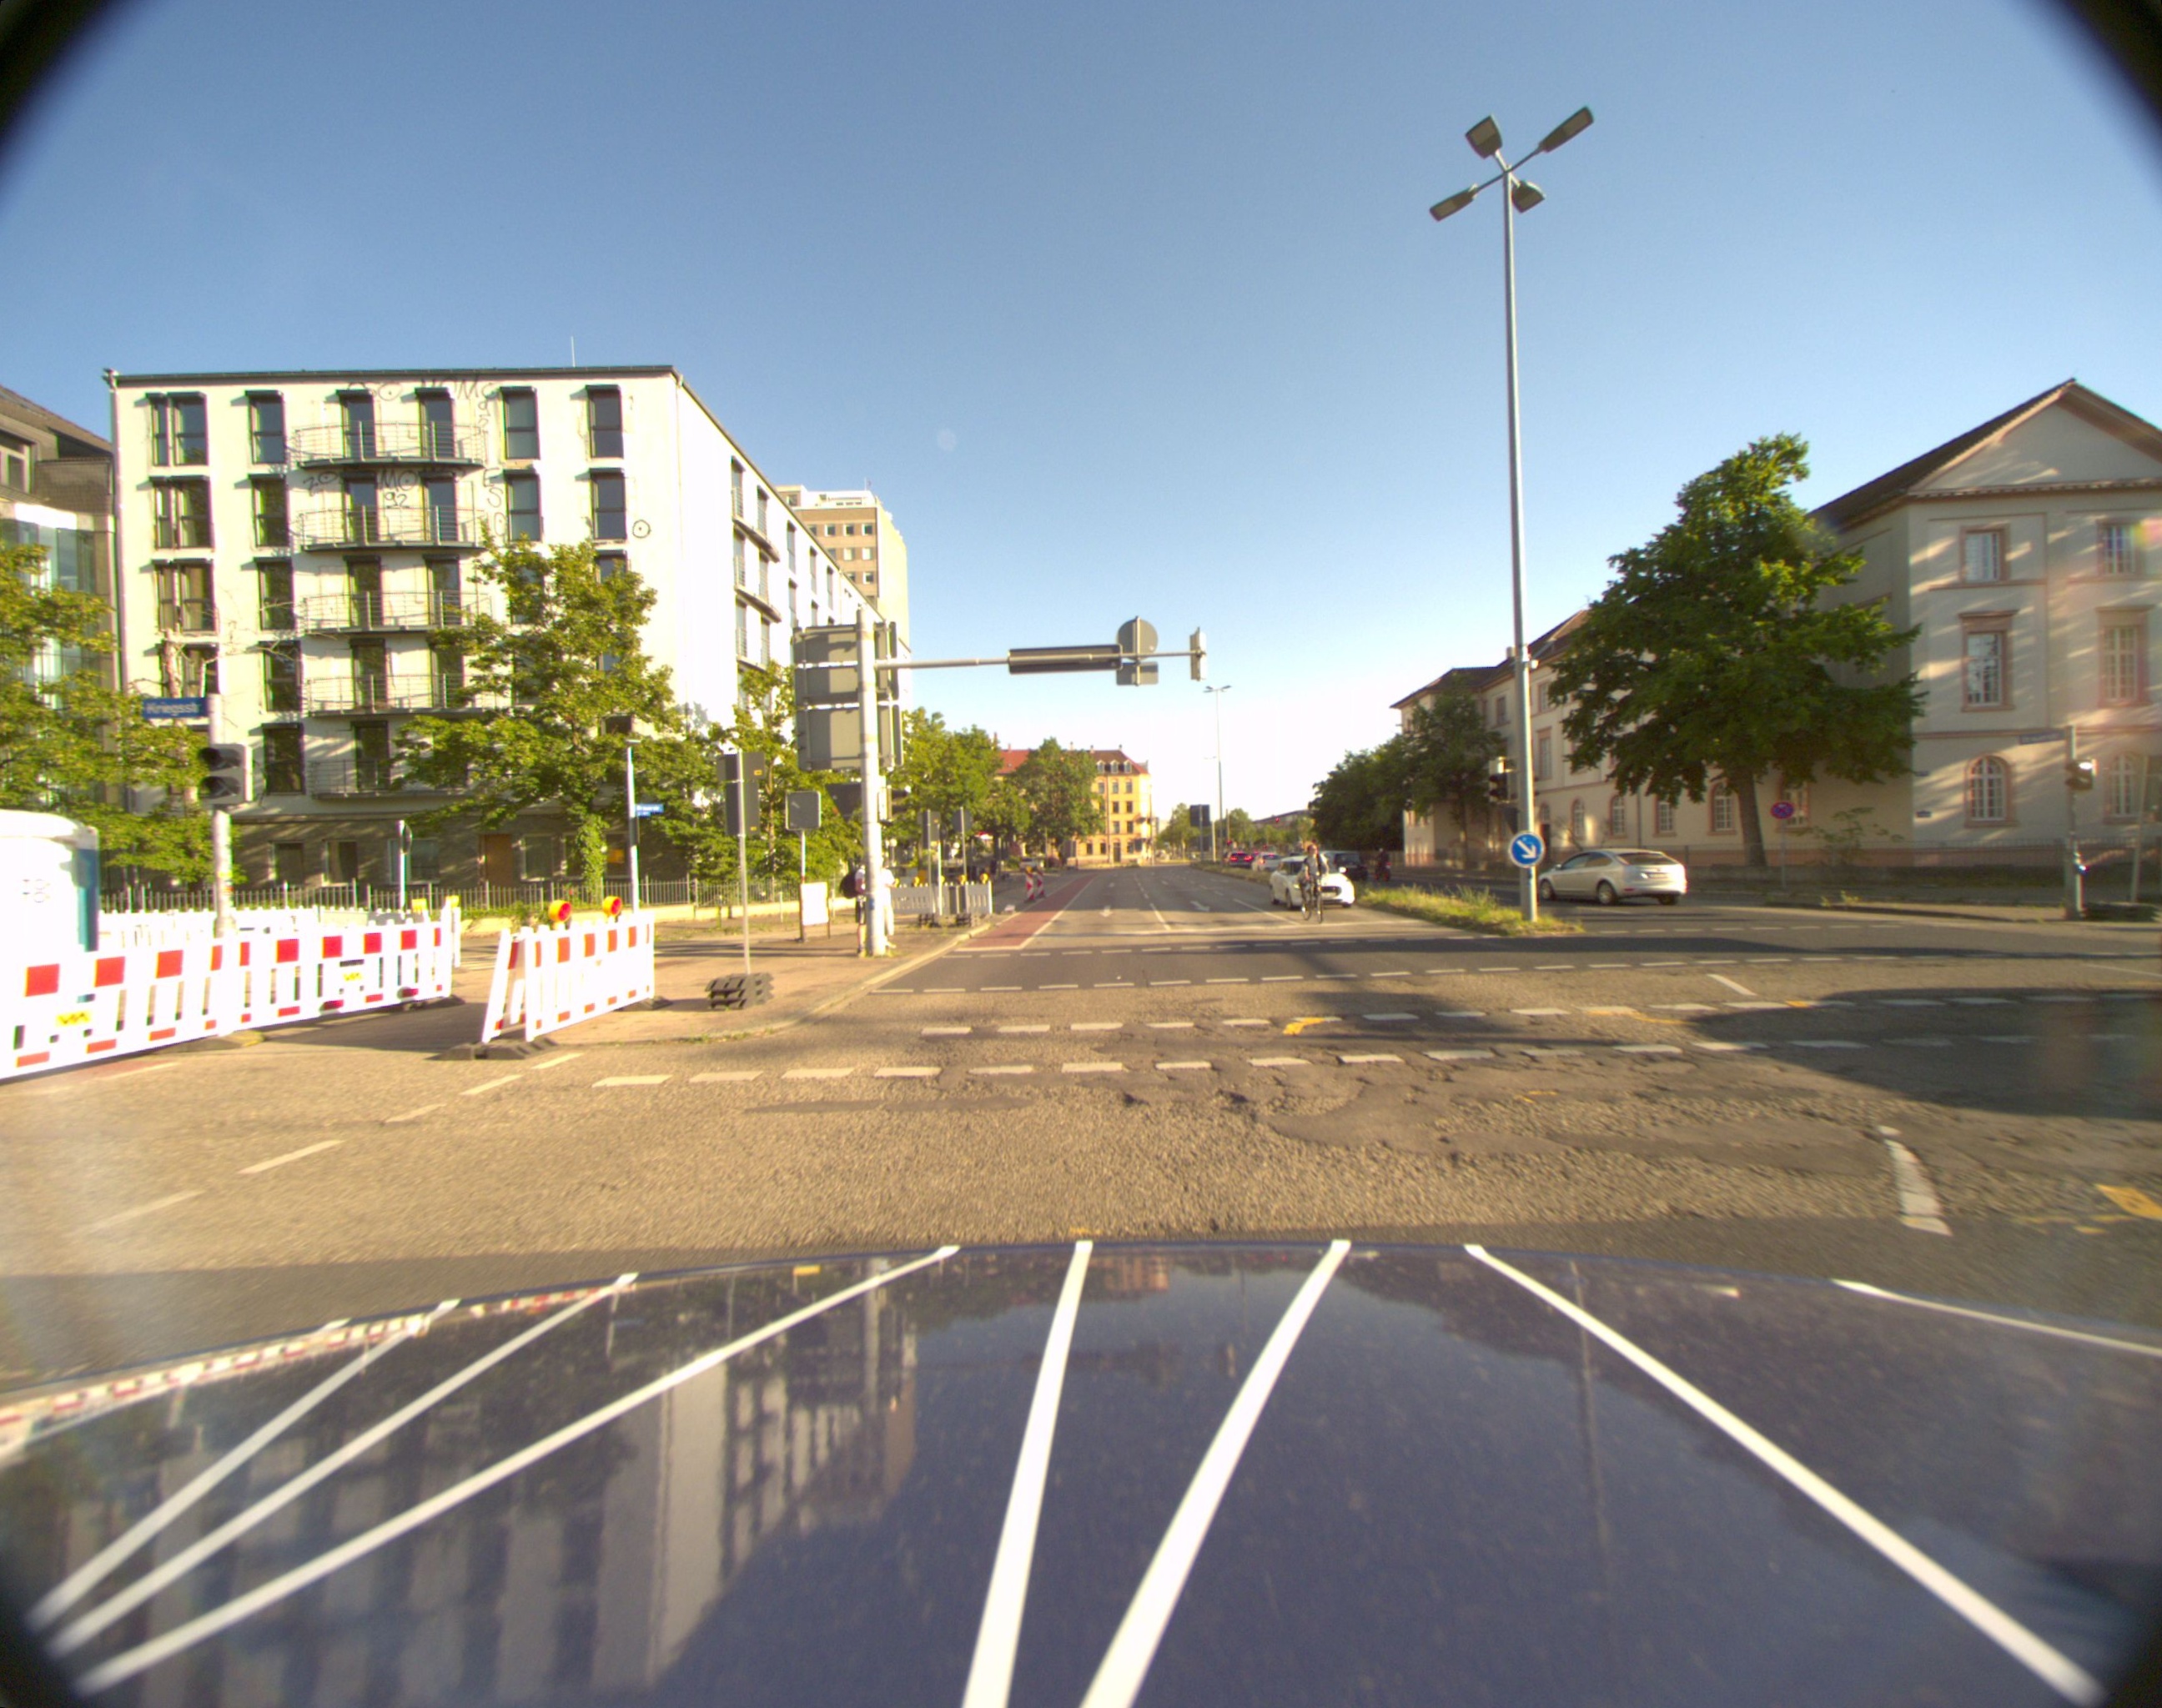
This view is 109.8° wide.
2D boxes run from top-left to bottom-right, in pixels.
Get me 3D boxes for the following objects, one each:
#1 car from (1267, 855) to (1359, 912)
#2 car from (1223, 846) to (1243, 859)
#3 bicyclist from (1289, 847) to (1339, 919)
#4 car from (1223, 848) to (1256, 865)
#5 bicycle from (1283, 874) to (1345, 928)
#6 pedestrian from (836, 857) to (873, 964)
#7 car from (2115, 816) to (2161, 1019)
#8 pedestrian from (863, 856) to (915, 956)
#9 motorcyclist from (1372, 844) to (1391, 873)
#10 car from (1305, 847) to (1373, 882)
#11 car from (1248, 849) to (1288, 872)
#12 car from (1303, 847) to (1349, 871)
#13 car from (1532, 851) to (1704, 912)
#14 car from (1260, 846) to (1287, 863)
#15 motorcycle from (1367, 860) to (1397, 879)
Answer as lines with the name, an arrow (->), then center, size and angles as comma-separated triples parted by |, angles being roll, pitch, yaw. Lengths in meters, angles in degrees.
car -> 6.705, 0.801, 22.370 | 1.764, 1.490, 3.709 | -2, 0, 4
car -> 19.366, -0.214, 96.704 | 2.045, 1.545, 4.297 | -2, 0, 16
bicyclist -> 5.407, 0.651, 17.688 | 0.838, 1.594, 1.023 | -2, 1, 2
car -> 13.958, 0.196, 67.131 | 2.047, 1.454, 4.293 | -2, 0, 2
bicycle -> 5.399, 1.051, 17.745 | 0.833, 1.101, 2.081 | -2, 0, 2
pedestrian -> -4.095, 0.998, 13.745 | 0.500, 1.866, 0.601 | -2, 1, -25
car -> 10.610, 0.556, 4.667 | 1.832, 1.836, 4.947 | -2, 0, 1
pedestrian -> -3.722, 0.983, 14.753 | 0.576, 1.866, 0.711 | -1, 1, 37
motorcyclist -> 14.977, 0.223, 37.865 | 0.620, 1.398, 0.756 | -2, 1, 0
car -> 11.713, 0.431, 34.829 | 1.764, 1.454, 4.293 | -2, 0, 2
car -> 12.763, 0.434, 52.112 | 1.764, 1.454, 4.293 | -2, 0, 2
car -> 16.088, 0.300, 50.138 | 1.764, 1.454, 4.293 | -2, 0, 2
car -> 14.438, 0.670, 20.774 | 1.764, 1.454, 4.293 | -2, 0, 2
car -> 19.709, 0.064, 77.992 | 1.764, 1.626, 4.293 | -2, 0, 2
motorcycle -> 15.001, 0.759, 37.931 | 0.640, 0.874, 2.161 | -2, 0, 0
